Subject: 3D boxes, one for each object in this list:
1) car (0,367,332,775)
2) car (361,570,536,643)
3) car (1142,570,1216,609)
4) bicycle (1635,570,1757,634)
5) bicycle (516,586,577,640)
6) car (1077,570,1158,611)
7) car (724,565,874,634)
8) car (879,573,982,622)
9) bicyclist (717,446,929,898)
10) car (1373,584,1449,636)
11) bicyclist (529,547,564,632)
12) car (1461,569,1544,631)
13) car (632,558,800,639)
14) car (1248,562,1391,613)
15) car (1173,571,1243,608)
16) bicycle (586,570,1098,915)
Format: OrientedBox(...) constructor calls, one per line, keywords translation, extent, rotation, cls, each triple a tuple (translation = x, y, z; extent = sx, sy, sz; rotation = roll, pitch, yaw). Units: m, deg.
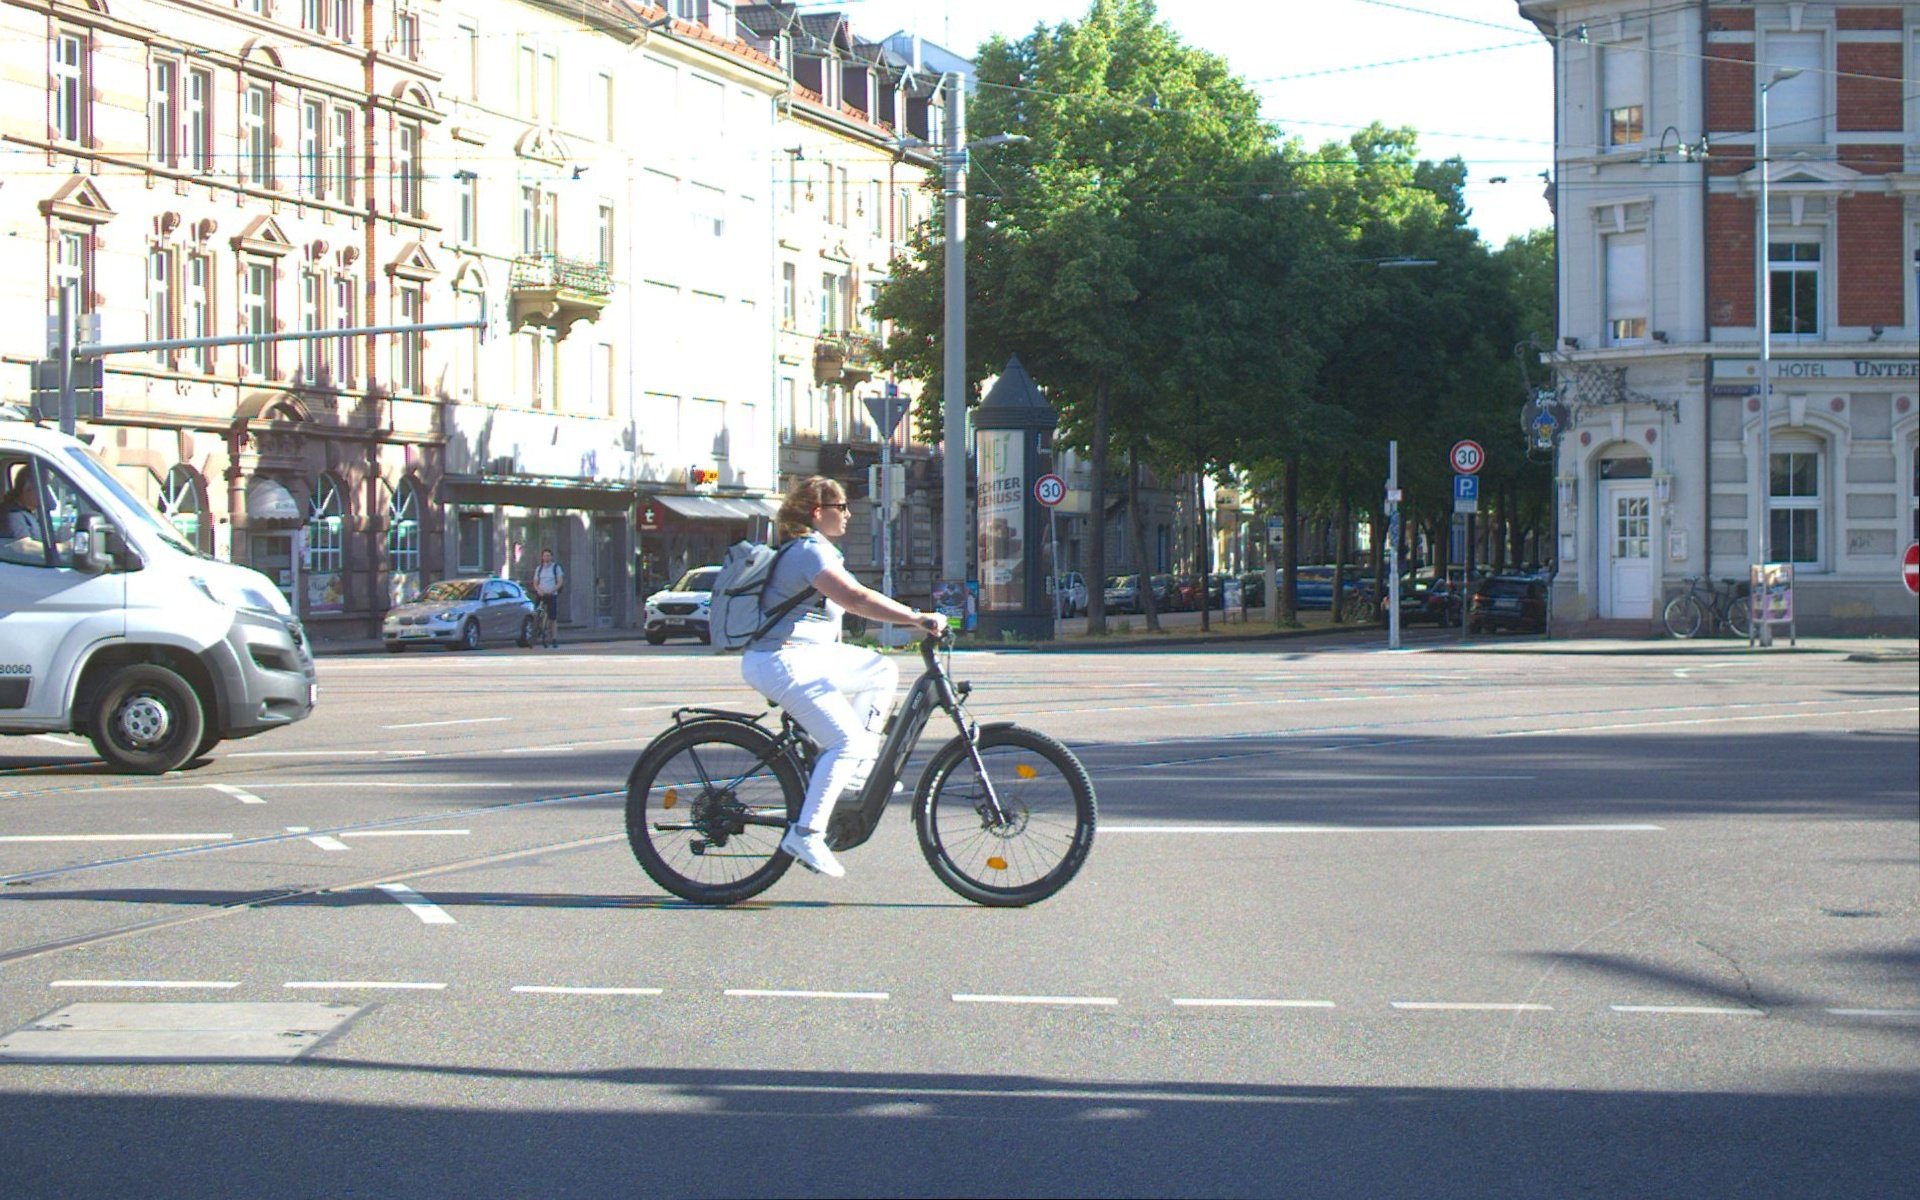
OrientedBox(translation=(-6.578, -0.177, 21.415), extent=(5.110, 2.424, 2.081), rotation=(-1, 1, -7), cls="car")
OrientedBox(translation=(-9.930, 0.101, 67.043), extent=(1.995, 1.357, 3.816), rotation=(0, 1, 16), cls="car")
OrientedBox(translation=(8.401, -0.414, 131.406), extent=(1.995, 1.400, 4.166), rotation=(0, 1, 16), cls="car")
OrientedBox(translation=(12.267, 0.026, 57.342), extent=(1.953, 1.050, 0.715), rotation=(0, 1, 10), cls="bicycle")
OrientedBox(translation=(-7.850, 0.231, 65.300), extent=(0.655, 0.997, 1.664), rotation=(1, 1, 12), cls="bicycle")
OrientedBox(translation=(5.648, -0.337, 122.578), extent=(1.995, 1.400, 4.166), rotation=(0, 1, 16), cls="car")
OrientedBox(translation=(-3.402, -0.041, 73.643), extent=(1.995, 1.400, 4.166), rotation=(0, 1, 16), cls="car")
OrientedBox(translation=(-0.847, -0.091, 102.090), extent=(1.995, 1.400, 4.166), rotation=(0, 1, 16), cls="car")
OrientedBox(translation=(-0.529, 0.265, 13.367), extent=(0.798, 1.709, 0.734), rotation=(0, 1, -2), cls="bicyclist")
OrientedBox(translation=(12.130, 0.247, 92.336), extent=(1.718, 1.296, 4.071), rotation=(0, 1, 12), cls="car")
OrientedBox(translation=(-7.843, -0.203, 65.193), extent=(0.489, 1.596, 0.666), rotation=(0, 1, 10), cls="bicyclist")
OrientedBox(translation=(13.044, -0.024, 82.528), extent=(1.756, 1.415, 3.998), rotation=(0, 1, 12), cls="car")
OrientedBox(translation=(-4.755, -0.053, 67.470), extent=(1.995, 1.511, 4.166), rotation=(0, 1, 16), cls="car")
OrientedBox(translation=(10.444, -0.360, 99.684), extent=(3.989, 1.450, 1.681), rotation=(0, 1, 11), cls="car")
OrientedBox(translation=(9.878, -0.446, 136.603), extent=(1.995, 1.400, 4.166), rotation=(0, 1, 16), cls="car")
OrientedBox(translation=(-0.458, 0.543, 13.406), extent=(1.940, 1.294, 0.623), rotation=(0, 1, -2), cls="bicycle")
